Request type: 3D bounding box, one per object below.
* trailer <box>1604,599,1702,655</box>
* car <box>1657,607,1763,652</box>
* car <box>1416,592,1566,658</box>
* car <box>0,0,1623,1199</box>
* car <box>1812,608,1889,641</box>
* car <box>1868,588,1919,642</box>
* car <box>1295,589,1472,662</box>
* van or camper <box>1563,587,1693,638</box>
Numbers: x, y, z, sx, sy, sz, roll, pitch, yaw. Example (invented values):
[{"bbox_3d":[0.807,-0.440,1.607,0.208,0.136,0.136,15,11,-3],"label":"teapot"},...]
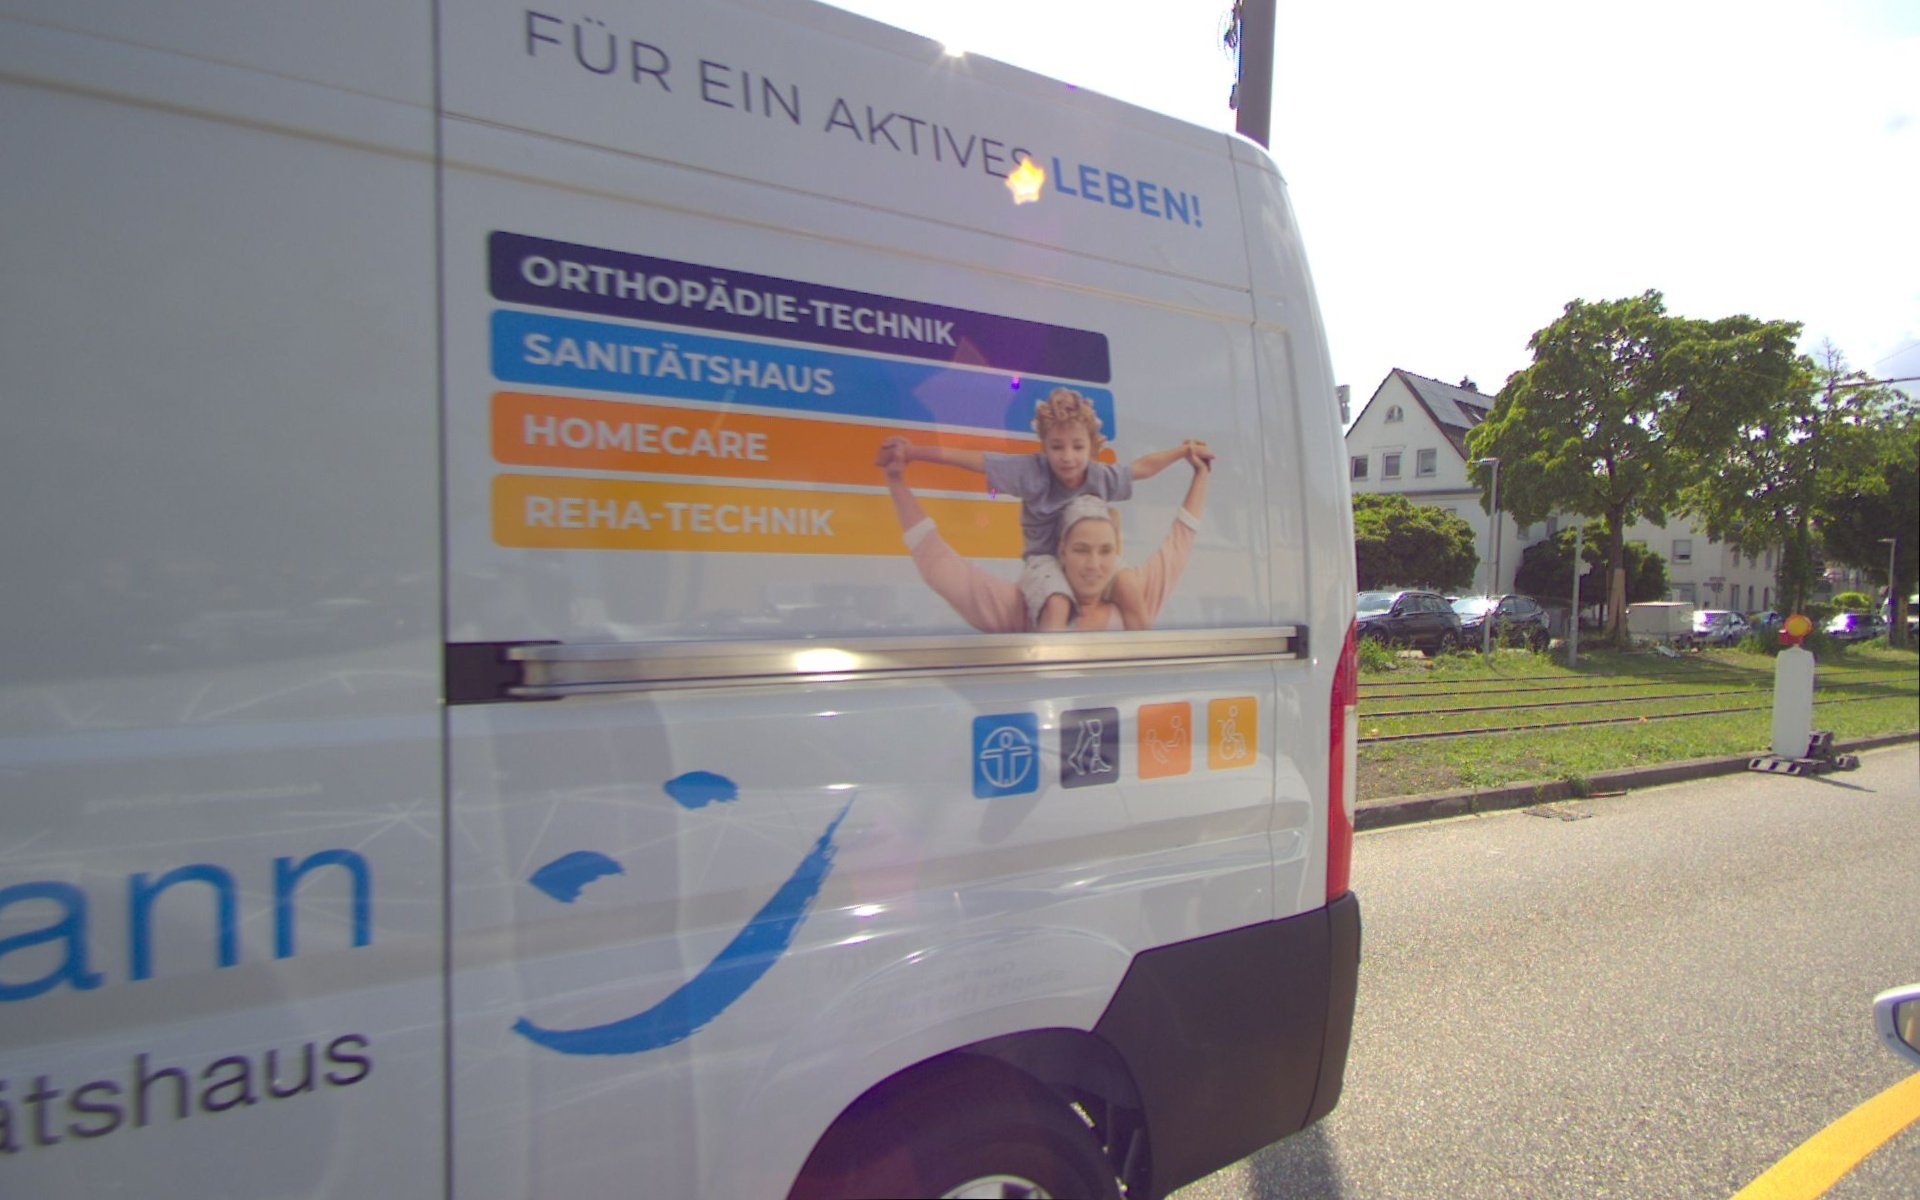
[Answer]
[{"bbox_3d":[22.705,0.872,32.871,3.339,1.700,1.555,1,1,-36],"label":"trailer"},{"bbox_3d":[26.982,1.045,36.092,4.521,1.525,1.717,1,-1,-35],"label":"car"},{"bbox_3d":[14.512,0.669,27.395,4.519,1.659,1.685,1,-1,-34],"label":"car"},{"bbox_3d":[-1.508,0.170,1.564,5.509,2.476,2.091,1,1,-32],"label":"car"},{"bbox_3d":[41.994,1.146,47.337,4.521,1.525,1.717,1,-1,-35],"label":"car"},{"bbox_3d":[50.750,0.823,53.901,6.944,2.757,2.057,1,-1,-40],"label":"car"},{"bbox_3d":[10.219,0.606,24.114,4.521,1.608,1.799,1,-1,-35],"label":"car"},{"bbox_3d":[44.745,0.750,67.520,2.419,3.168,6.834,1,1,-35],"label":"van or camper"}]
